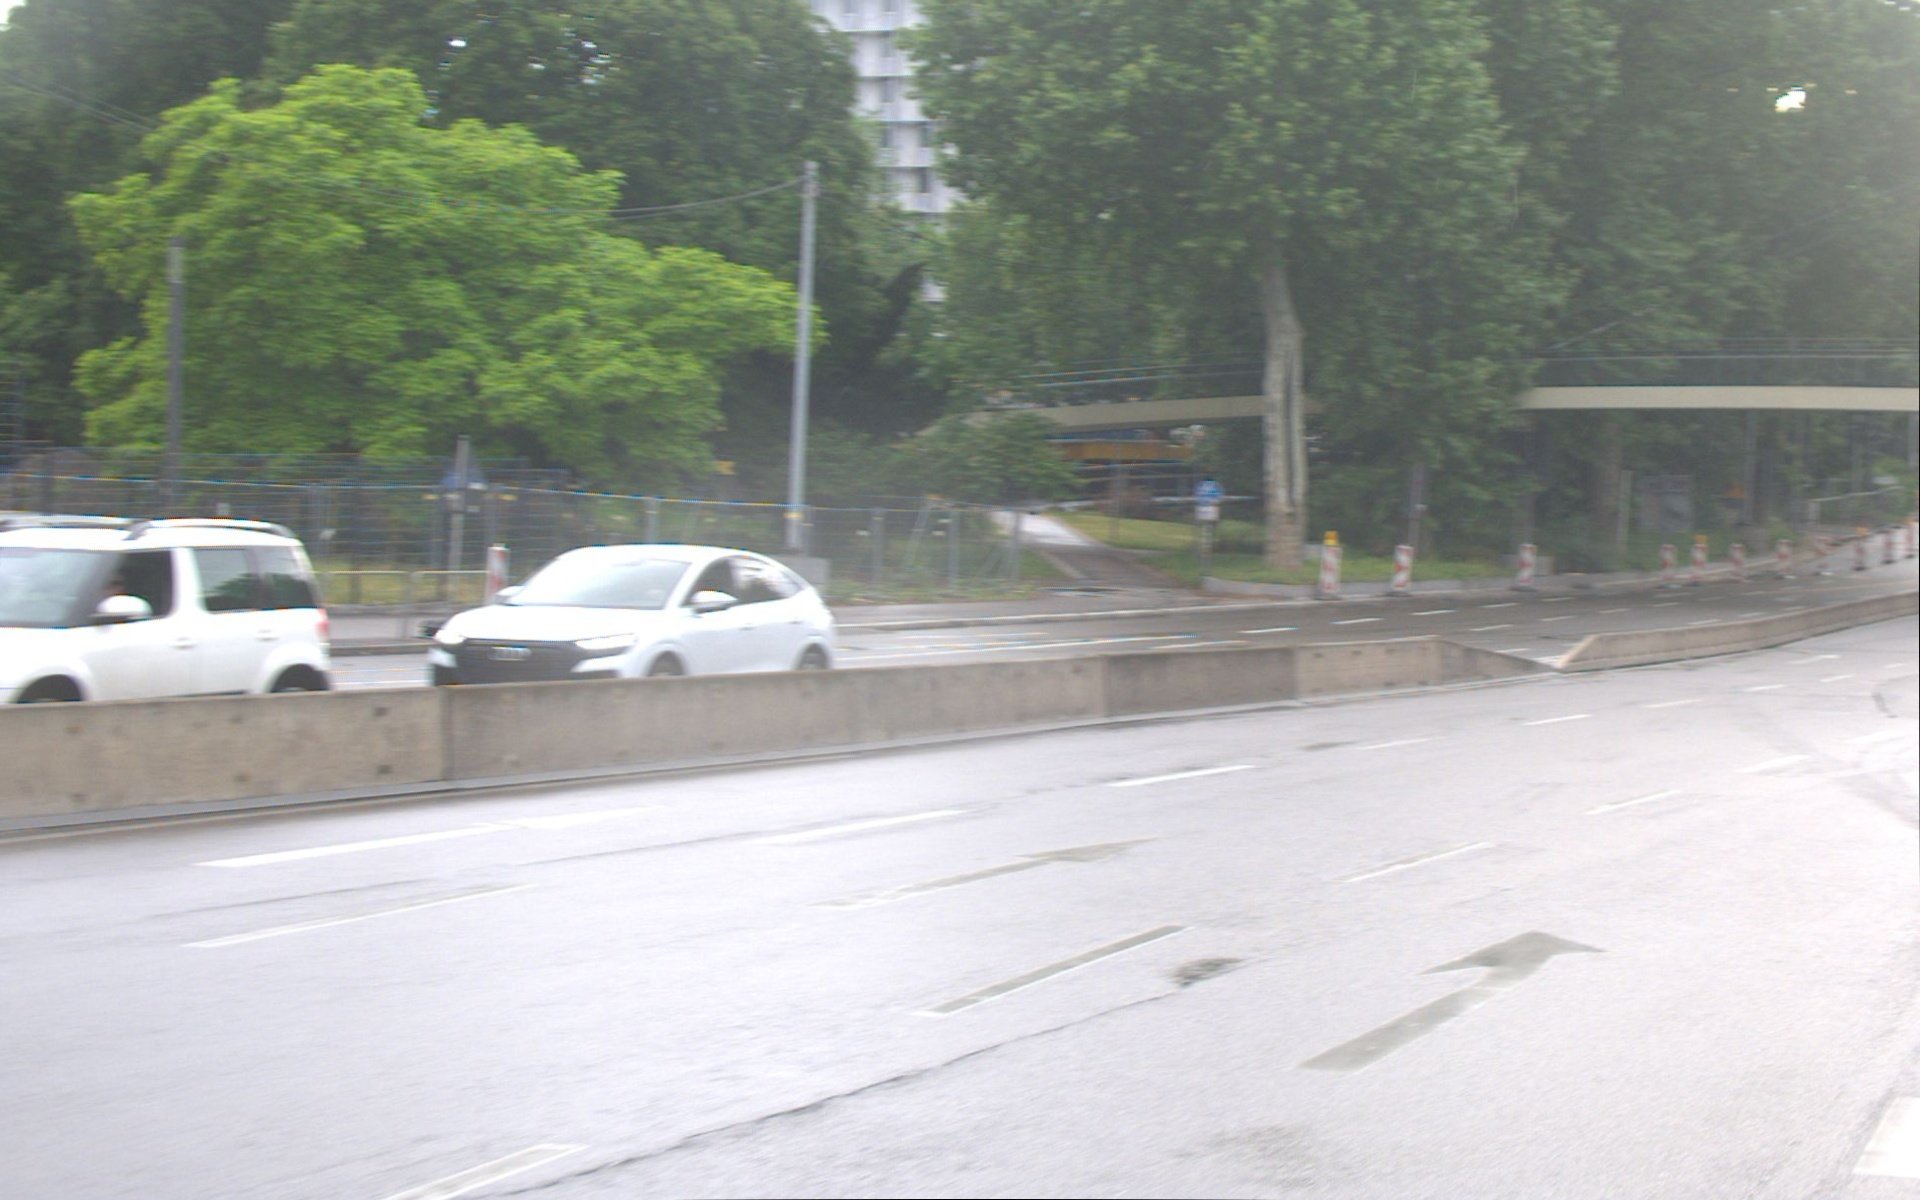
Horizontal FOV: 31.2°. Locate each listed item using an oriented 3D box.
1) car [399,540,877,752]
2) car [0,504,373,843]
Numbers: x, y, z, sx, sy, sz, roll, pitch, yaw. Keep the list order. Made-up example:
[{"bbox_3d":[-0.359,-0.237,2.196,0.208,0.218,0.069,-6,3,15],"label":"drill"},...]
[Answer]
[{"bbox_3d":[-2.516,0.329,28.276,1.896,1.562,4.893,1,1,21],"label":"car"},{"bbox_3d":[-5.530,0.380,20.773,1.911,1.860,4.374,1,1,21],"label":"car"}]
